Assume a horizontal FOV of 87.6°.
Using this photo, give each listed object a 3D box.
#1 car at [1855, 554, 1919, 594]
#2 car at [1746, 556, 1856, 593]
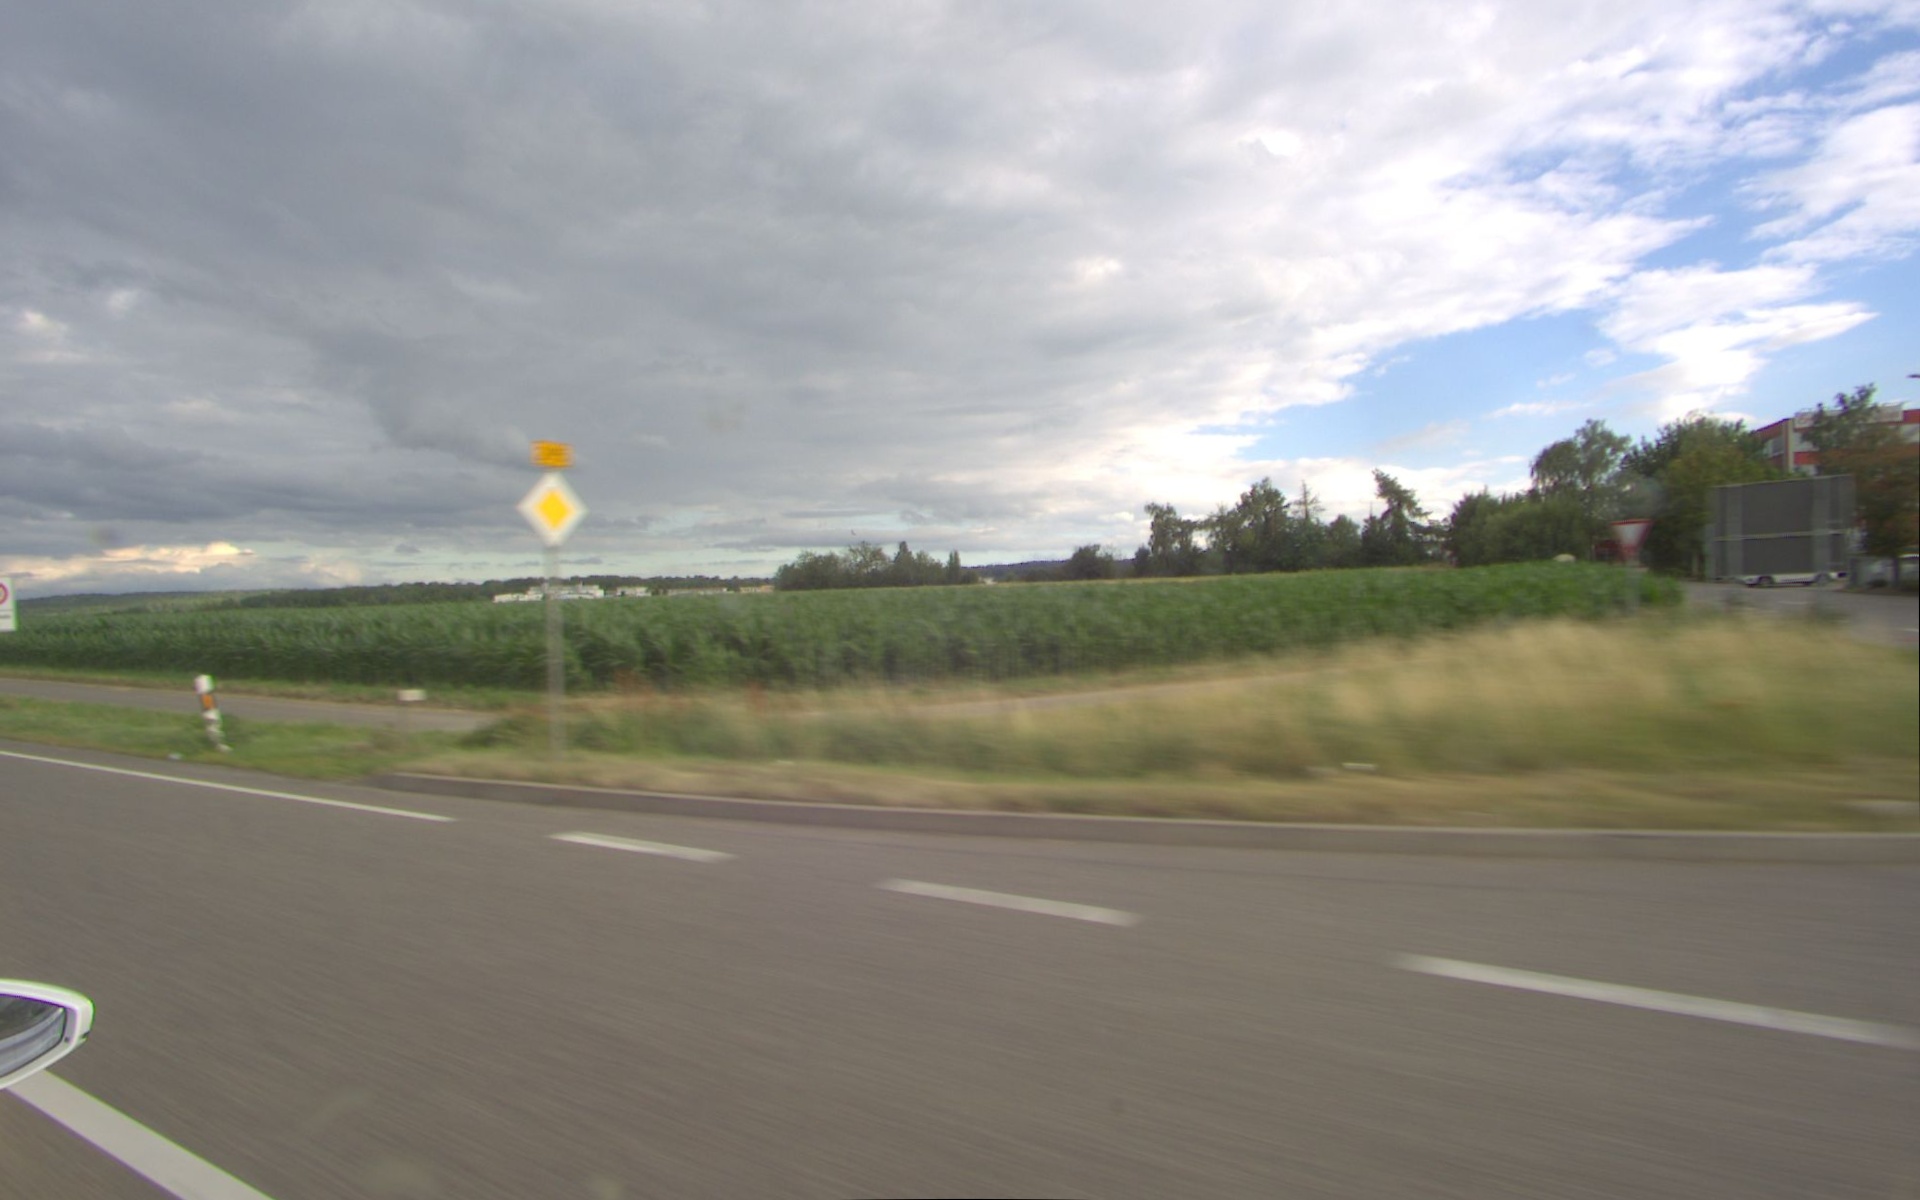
[{"bbox_3d":[51.809,-1.404,54.656,3.930,2.039,1.997,-1,-2,20],"label":"car"},{"bbox_3d":[46.518,-1.391,55.483,4.258,1.802,1.993,-2,1,25],"label":"car"}]
